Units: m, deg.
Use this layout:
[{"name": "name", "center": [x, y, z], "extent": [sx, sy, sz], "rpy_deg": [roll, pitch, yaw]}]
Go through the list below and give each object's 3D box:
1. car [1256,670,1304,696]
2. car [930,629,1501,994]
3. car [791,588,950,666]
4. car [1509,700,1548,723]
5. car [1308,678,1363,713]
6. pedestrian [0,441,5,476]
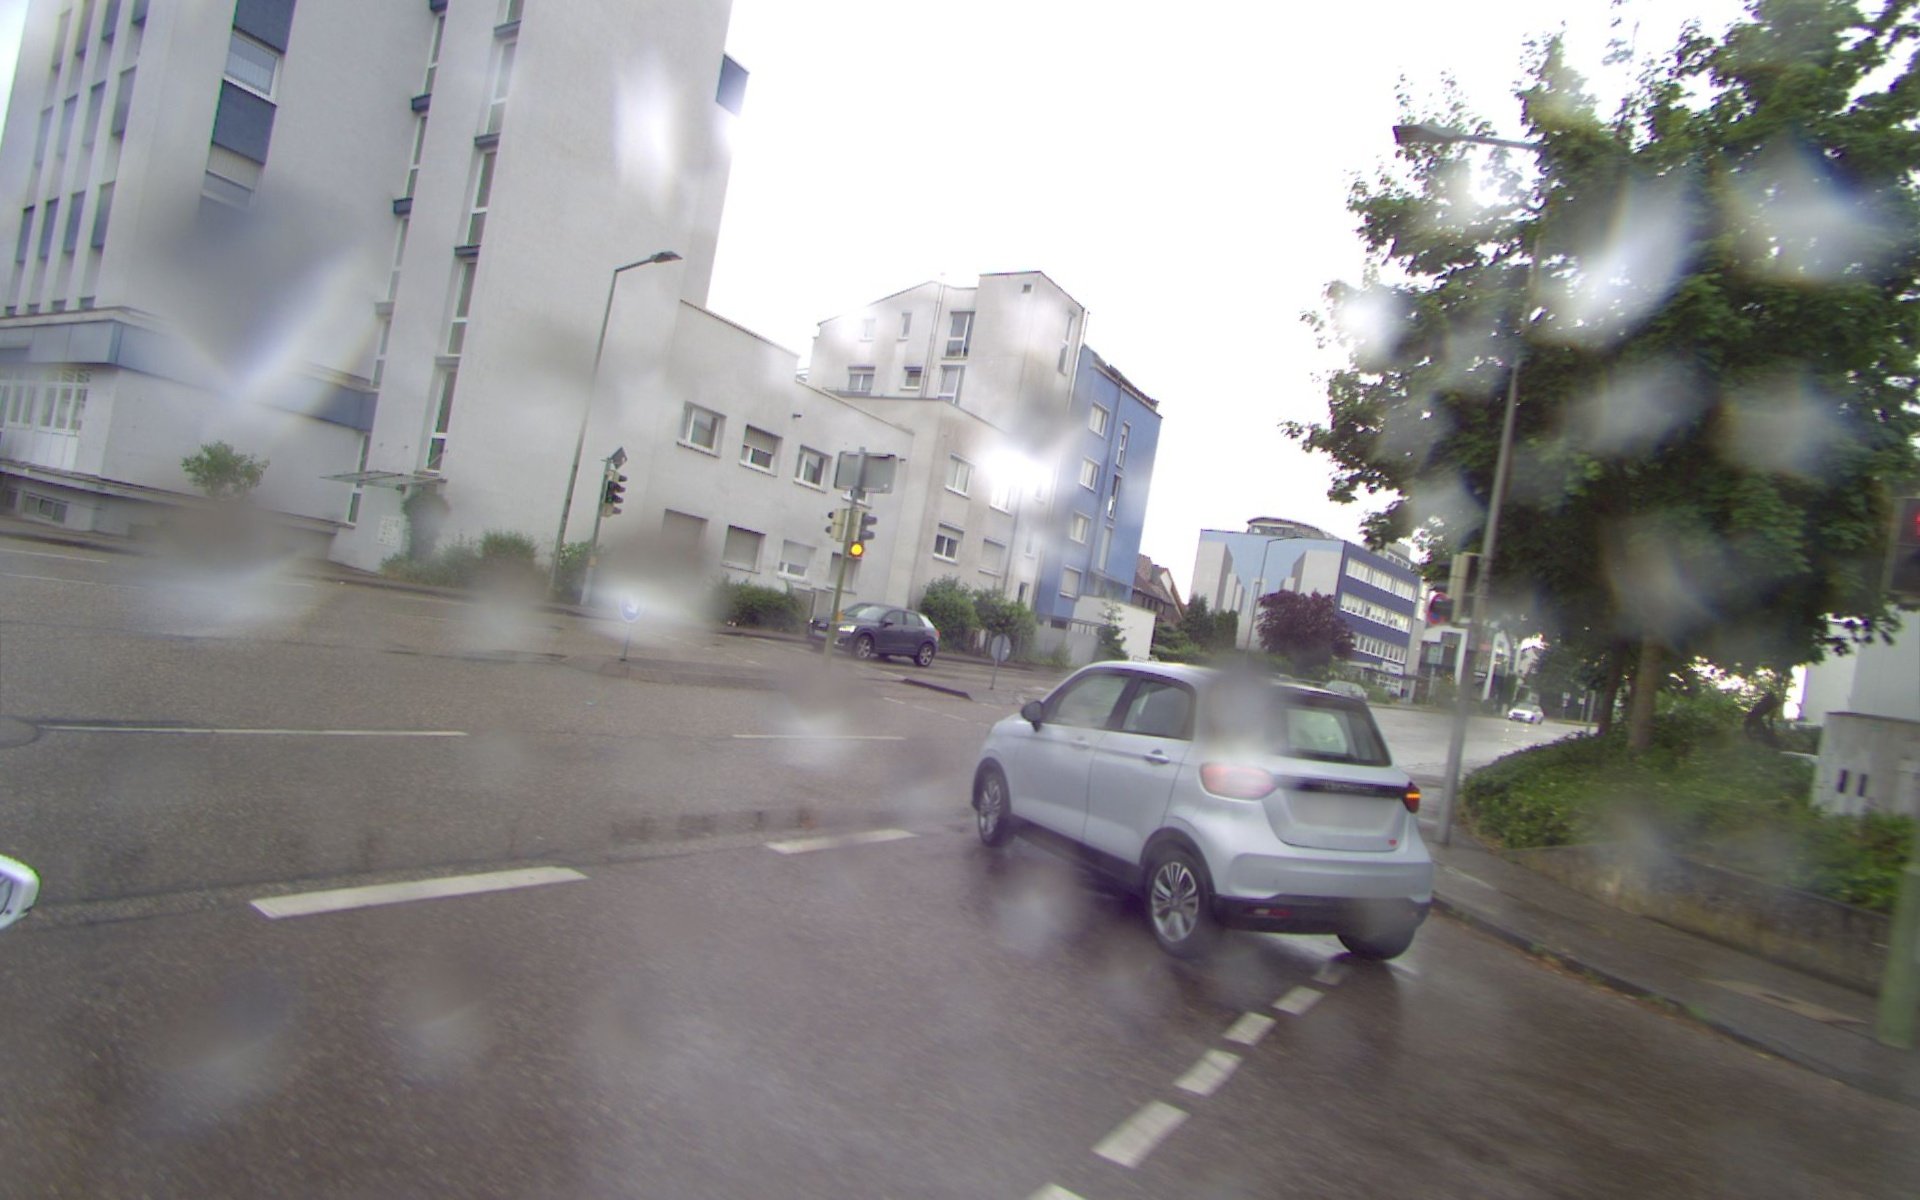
[{"name": "car", "center": [21.600, 5.603, 67.835], "extent": [1.636, 1.301, 3.868], "rpy_deg": [8, -2, 41]}, {"name": "car", "center": [1.375, 1.197, 7.017], "extent": [1.673, 1.572, 3.885], "rpy_deg": [8, -2, -24]}, {"name": "car", "center": [-2.363, 0.783, 27.423], "extent": [1.717, 1.503, 4.134], "rpy_deg": [10, 0, 40]}, {"name": "car", "center": [48.931, 9.611, 86.556], "extent": [1.875, 1.562, 4.002], "rpy_deg": [5, -3, 44]}, {"name": "car", "center": [20.891, 5.297, 55.863], "extent": [1.728, 1.495, 3.991], "rpy_deg": [8, -2, 36]}, {"name": "pedestrian", "center": [-22.449, -2.847, 22.952], "extent": [0.635, 1.670, 0.655], "rpy_deg": [5, -2, 32]}]
